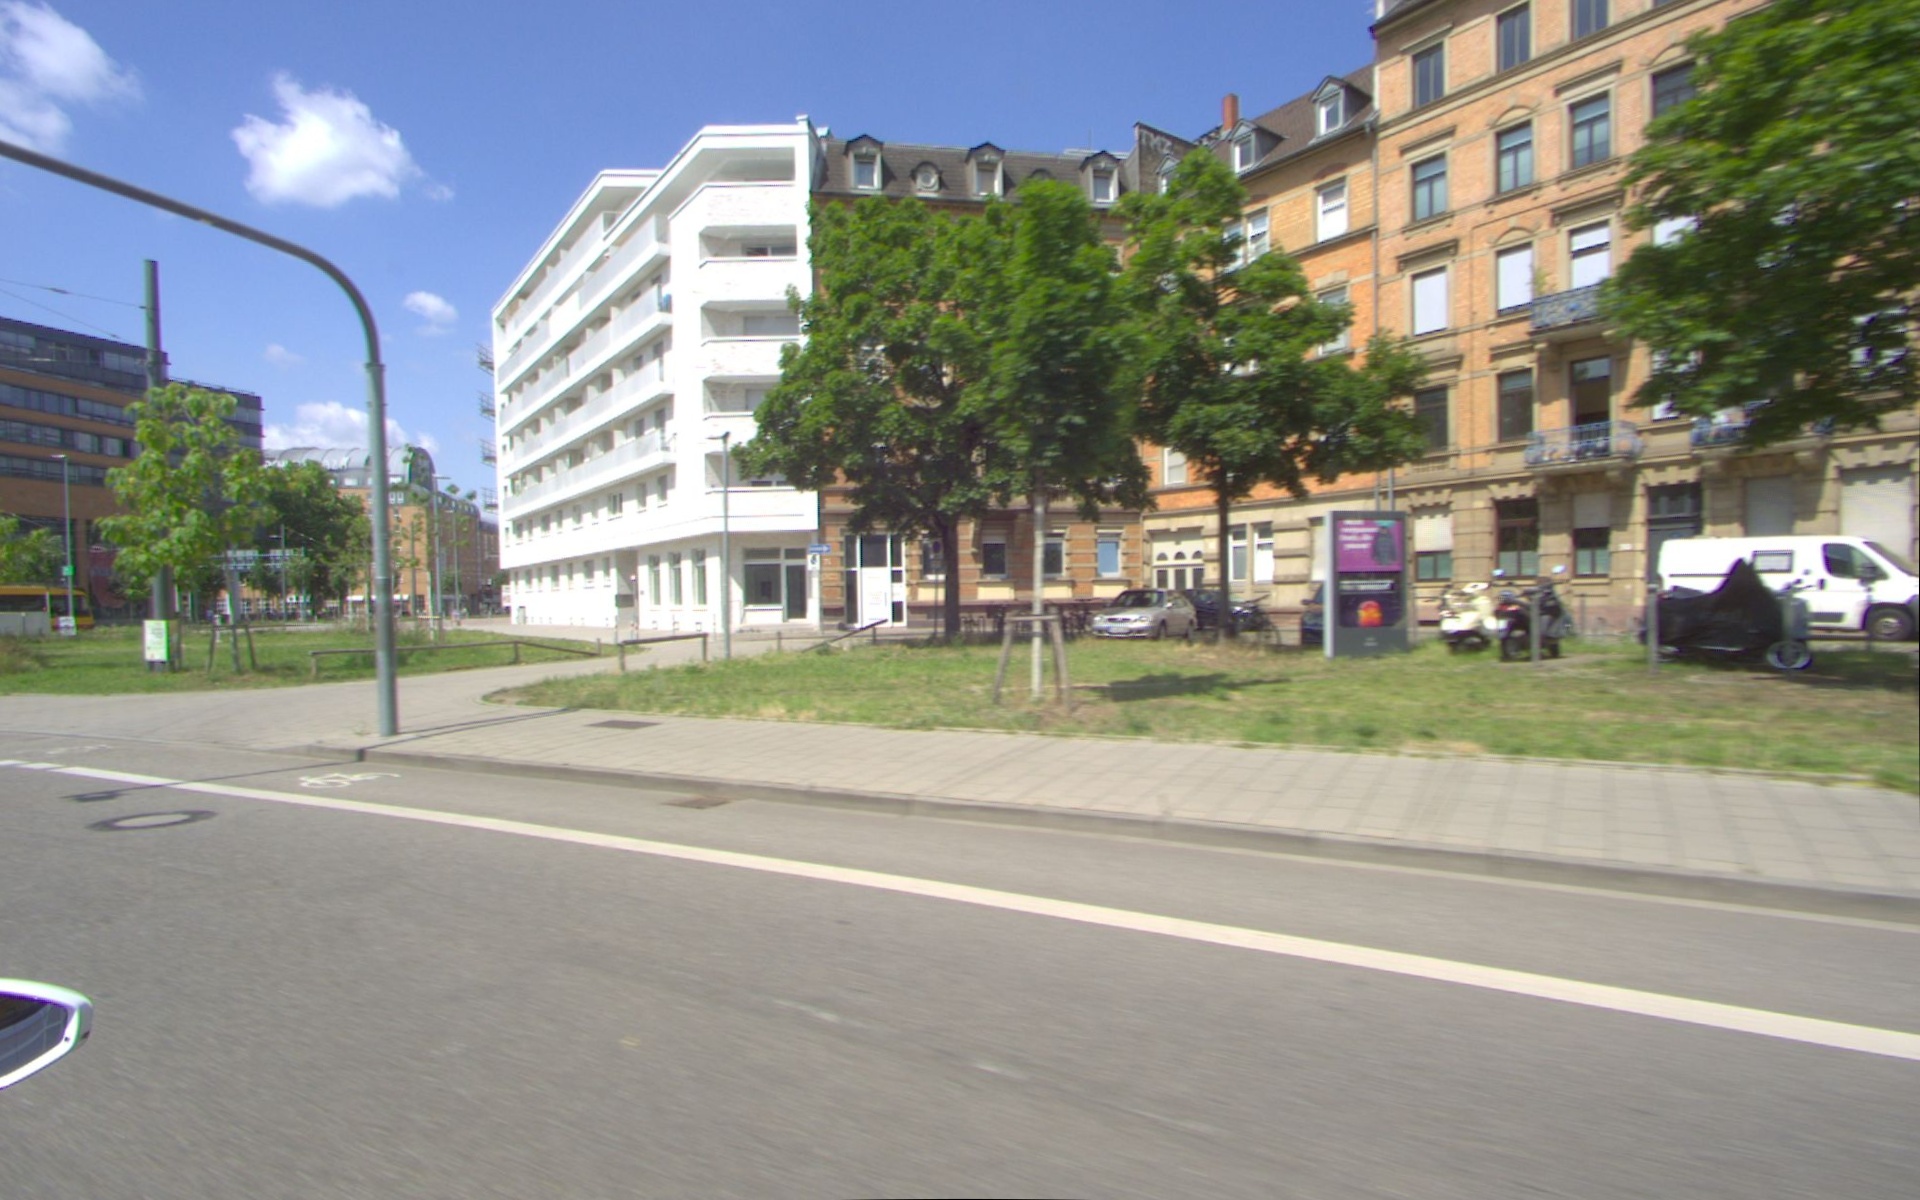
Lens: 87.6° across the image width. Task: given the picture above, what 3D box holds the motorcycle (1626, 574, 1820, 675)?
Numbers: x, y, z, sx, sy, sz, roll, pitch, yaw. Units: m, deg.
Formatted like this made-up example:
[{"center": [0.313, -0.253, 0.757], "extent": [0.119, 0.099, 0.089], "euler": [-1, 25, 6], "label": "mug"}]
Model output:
[{"center": [9.600, 0.291, 12.692], "extent": [0.629, 1.182, 1.900], "euler": [-1, 0, -23], "label": "motorcycle"}]

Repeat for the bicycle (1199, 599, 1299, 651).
[{"center": [5.376, 0.463, 18.707], "extent": [0.537, 0.913, 1.806], "euler": [0, -1, -39], "label": "bicycle"}]

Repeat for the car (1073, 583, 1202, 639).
[{"center": [4.459, 0.288, 24.660], "extent": [1.835, 1.260, 4.146], "euler": [-1, -1, 30], "label": "car"}]

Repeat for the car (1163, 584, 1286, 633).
[{"center": [8.742, 0.305, 33.374], "extent": [1.643, 1.511, 3.827], "euler": [0, -1, -35], "label": "car"}]

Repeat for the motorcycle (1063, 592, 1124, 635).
[{"center": [3.695, 0.382, 27.557], "extent": [0.801, 1.140, 2.380], "euler": [0, -1, 30], "label": "motorcycle"}]

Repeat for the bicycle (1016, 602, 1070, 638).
[{"center": [2.389, 0.576, 28.538], "extent": [0.536, 0.982, 2.380], "euler": [0, -1, 30], "label": "bicycle"}]

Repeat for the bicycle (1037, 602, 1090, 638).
[{"center": [2.935, 0.554, 28.199], "extent": [0.536, 0.968, 2.380], "euler": [0, -1, 30], "label": "bicycle"}]

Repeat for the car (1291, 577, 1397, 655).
[{"center": [8.036, 0.298, 20.736], "extent": [1.776, 1.446, 4.245], "euler": [-1, 0, 25], "label": "car"}]

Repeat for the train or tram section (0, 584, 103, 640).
[{"center": [-64.198, 0.785, 66.344], "extent": [3.006, 3.668, 12.636], "euler": [0, -1, 6], "label": "train or tram section"}]

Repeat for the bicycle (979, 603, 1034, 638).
[{"center": [1.377, 0.592, 29.159], "extent": [0.536, 0.982, 2.380], "euler": [0, -1, 30], "label": "bicycle"}]

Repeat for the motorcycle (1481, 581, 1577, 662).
[{"center": [8.698, 0.306, 15.286], "extent": [1.767, 1.182, 0.635], "euler": [-1, 1, -37], "label": "motorcycle"}]

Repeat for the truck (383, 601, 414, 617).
[{"center": [-77.980, 1.289, 139.010], "extent": [5.460, 2.113, 1.984], "euler": [-1, -1, 41], "label": "truck"}]

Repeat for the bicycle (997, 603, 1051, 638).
[{"center": [1.860, 0.584, 28.868], "extent": [0.536, 0.982, 2.380], "euler": [0, -1, 30], "label": "bicycle"}]

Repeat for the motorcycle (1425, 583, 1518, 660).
[{"center": [8.184, 0.322, 15.995], "extent": [1.767, 1.182, 0.635], "euler": [-1, 1, -37], "label": "motorcycle"}]

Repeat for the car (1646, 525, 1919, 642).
[{"center": [17.874, -0.278, 21.023], "extent": [2.091, 2.207, 5.357], "euler": [0, -1, -35], "label": "car"}]
